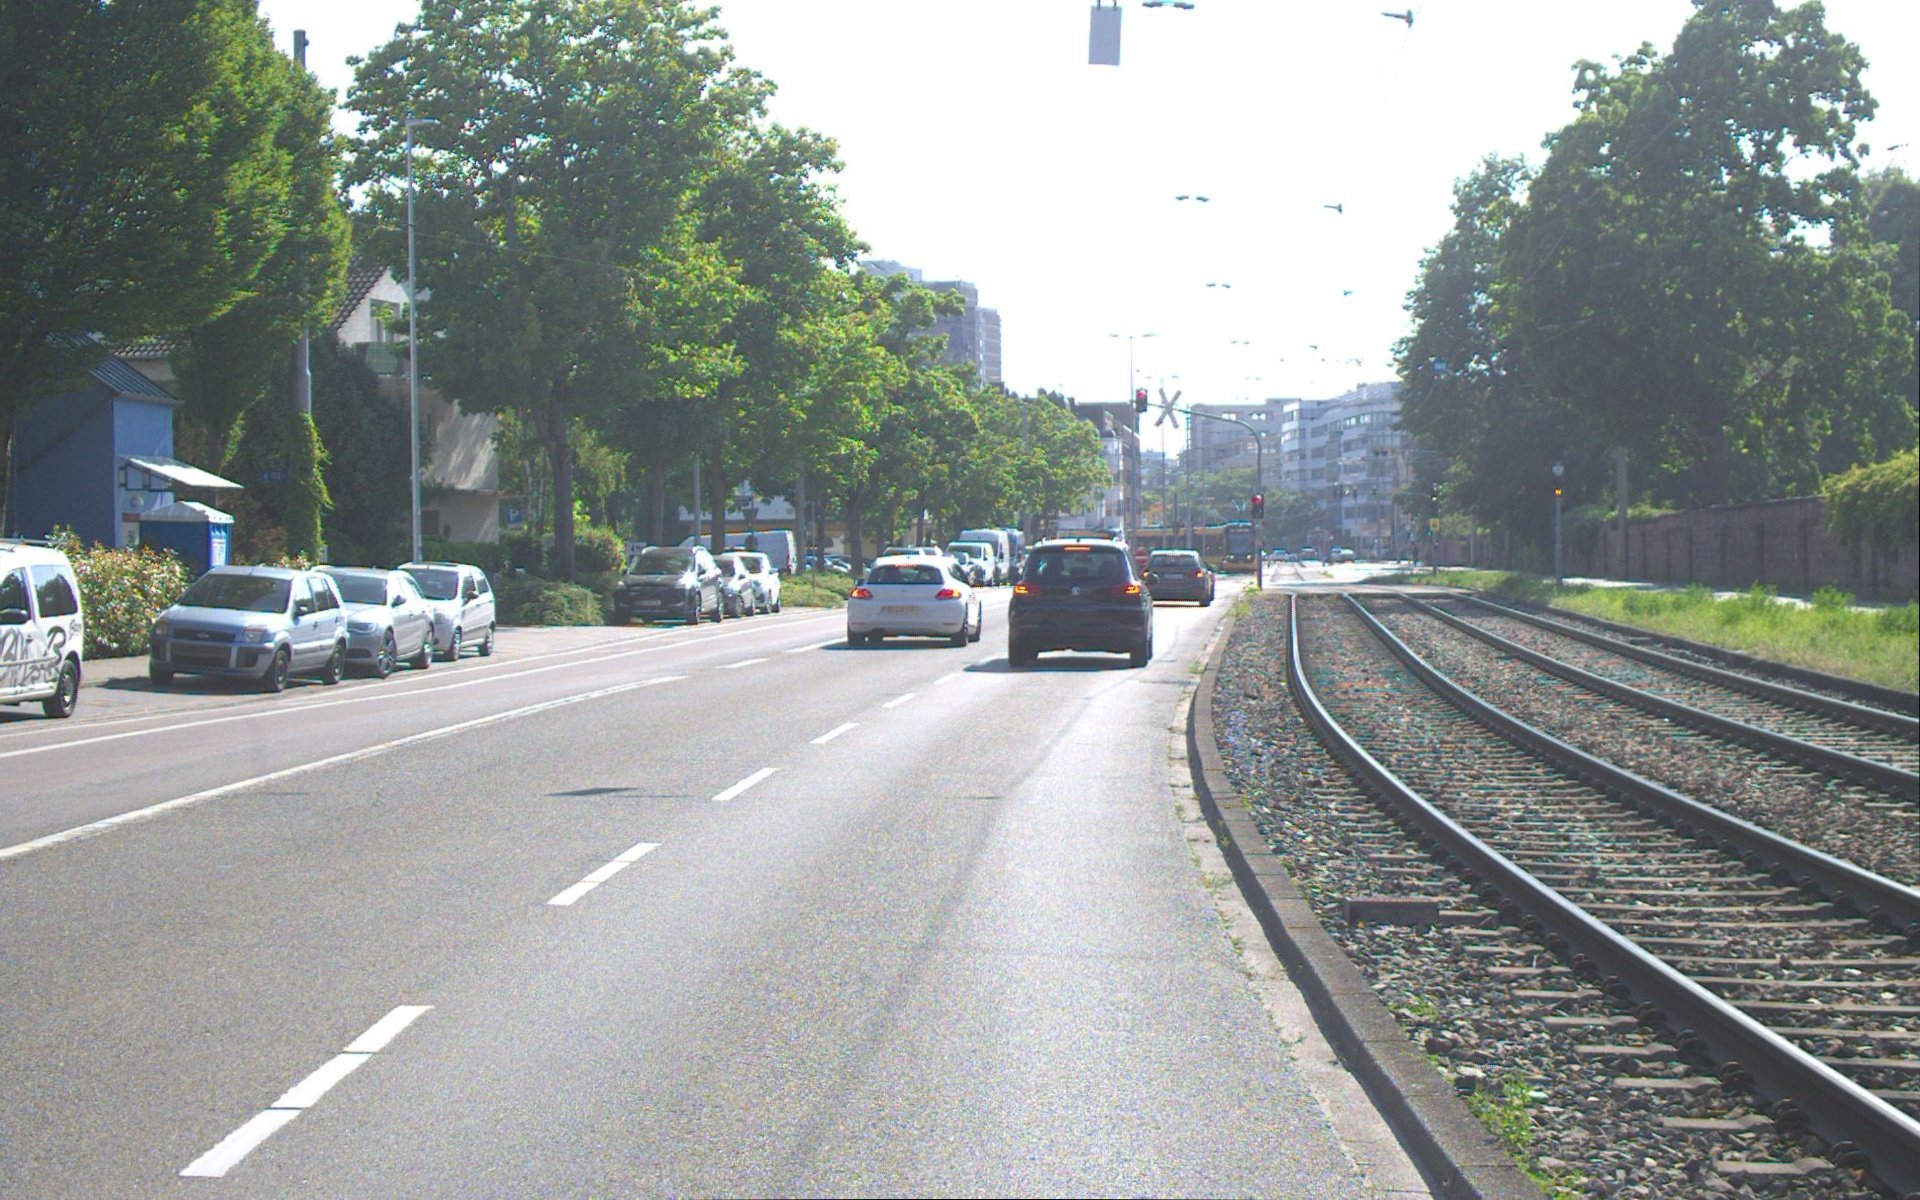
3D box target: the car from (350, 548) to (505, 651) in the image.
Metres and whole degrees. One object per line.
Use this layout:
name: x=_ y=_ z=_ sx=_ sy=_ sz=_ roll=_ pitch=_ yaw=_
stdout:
car: x=-8.506 y=-0.033 z=55.166 sx=1.601 sy=1.489 sz=3.509 roll=4 pitch=1 yaw=5

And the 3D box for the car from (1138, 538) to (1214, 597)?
car: x=5.607 y=-0.861 z=88.854 sx=1.811 sy=1.444 sz=3.999 roll=1 pitch=1 yaw=5

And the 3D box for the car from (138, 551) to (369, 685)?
car: x=-9.172 y=0.198 z=44.915 sx=1.763 sy=1.533 sz=3.980 roll=4 pitch=1 yaw=6

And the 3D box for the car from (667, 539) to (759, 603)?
car: x=-5.882 y=-0.711 z=82.231 sx=1.677 sy=1.463 sz=3.968 roll=0 pitch=1 yaw=3

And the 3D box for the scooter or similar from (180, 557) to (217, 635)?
scooter or similar: x=-11.538 y=-0.065 z=52.106 sx=0.294 sy=1.149 sz=1.043 roll=-1 pitch=1 yaw=1

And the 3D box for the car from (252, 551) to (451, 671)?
car: x=-8.746 y=0.122 z=49.826 sx=1.749 sy=1.505 sz=4.755 roll=4 pitch=1 yaw=3

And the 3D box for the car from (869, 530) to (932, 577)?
car: x=-2.136 y=-1.713 z=124.990 sx=1.732 sy=1.652 sz=3.999 roll=-1 pitch=1 yaw=7

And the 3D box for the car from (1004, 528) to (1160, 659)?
car: x=1.657 y=-0.112 z=45.524 sx=1.812 sy=1.639 sz=3.999 roll=0 pitch=1 yaw=6

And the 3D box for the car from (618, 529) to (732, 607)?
car: x=-6.311 y=-0.736 z=76.540 sx=1.712 sy=1.688 sz=4.421 roll=0 pitch=1 yaw=6

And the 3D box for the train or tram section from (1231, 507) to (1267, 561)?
train or tram section: x=19.810 y=-4.517 z=235.385 sx=2.327 sy=3.558 sz=8.898 roll=-1 pitch=1 yaw=6

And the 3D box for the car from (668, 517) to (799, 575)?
car: x=-9.805 y=-2.341 z=148.949 sx=5.376 sy=2.415 sz=2.087 roll=-1 pitch=1 yaw=6

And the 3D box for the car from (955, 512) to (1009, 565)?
car: x=1.002 y=-2.784 z=154.662 sx=1.864 sy=2.339 sz=4.984 roll=-1 pitch=1 yaw=7

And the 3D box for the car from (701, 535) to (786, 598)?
car: x=-5.504 y=-0.872 z=87.737 sx=1.601 sy=1.545 sz=3.894 roll=1 pitch=1 yaw=4

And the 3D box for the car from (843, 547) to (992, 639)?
car: x=-0.620 y=-0.133 z=53.057 sx=1.865 sy=1.343 sz=3.999 roll=0 pitch=1 yaw=6

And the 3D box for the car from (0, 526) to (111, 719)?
car: x=-10.256 y=0.183 z=34.941 sx=1.763 sy=1.839 sz=4.580 roll=4 pitch=1 yaw=4
